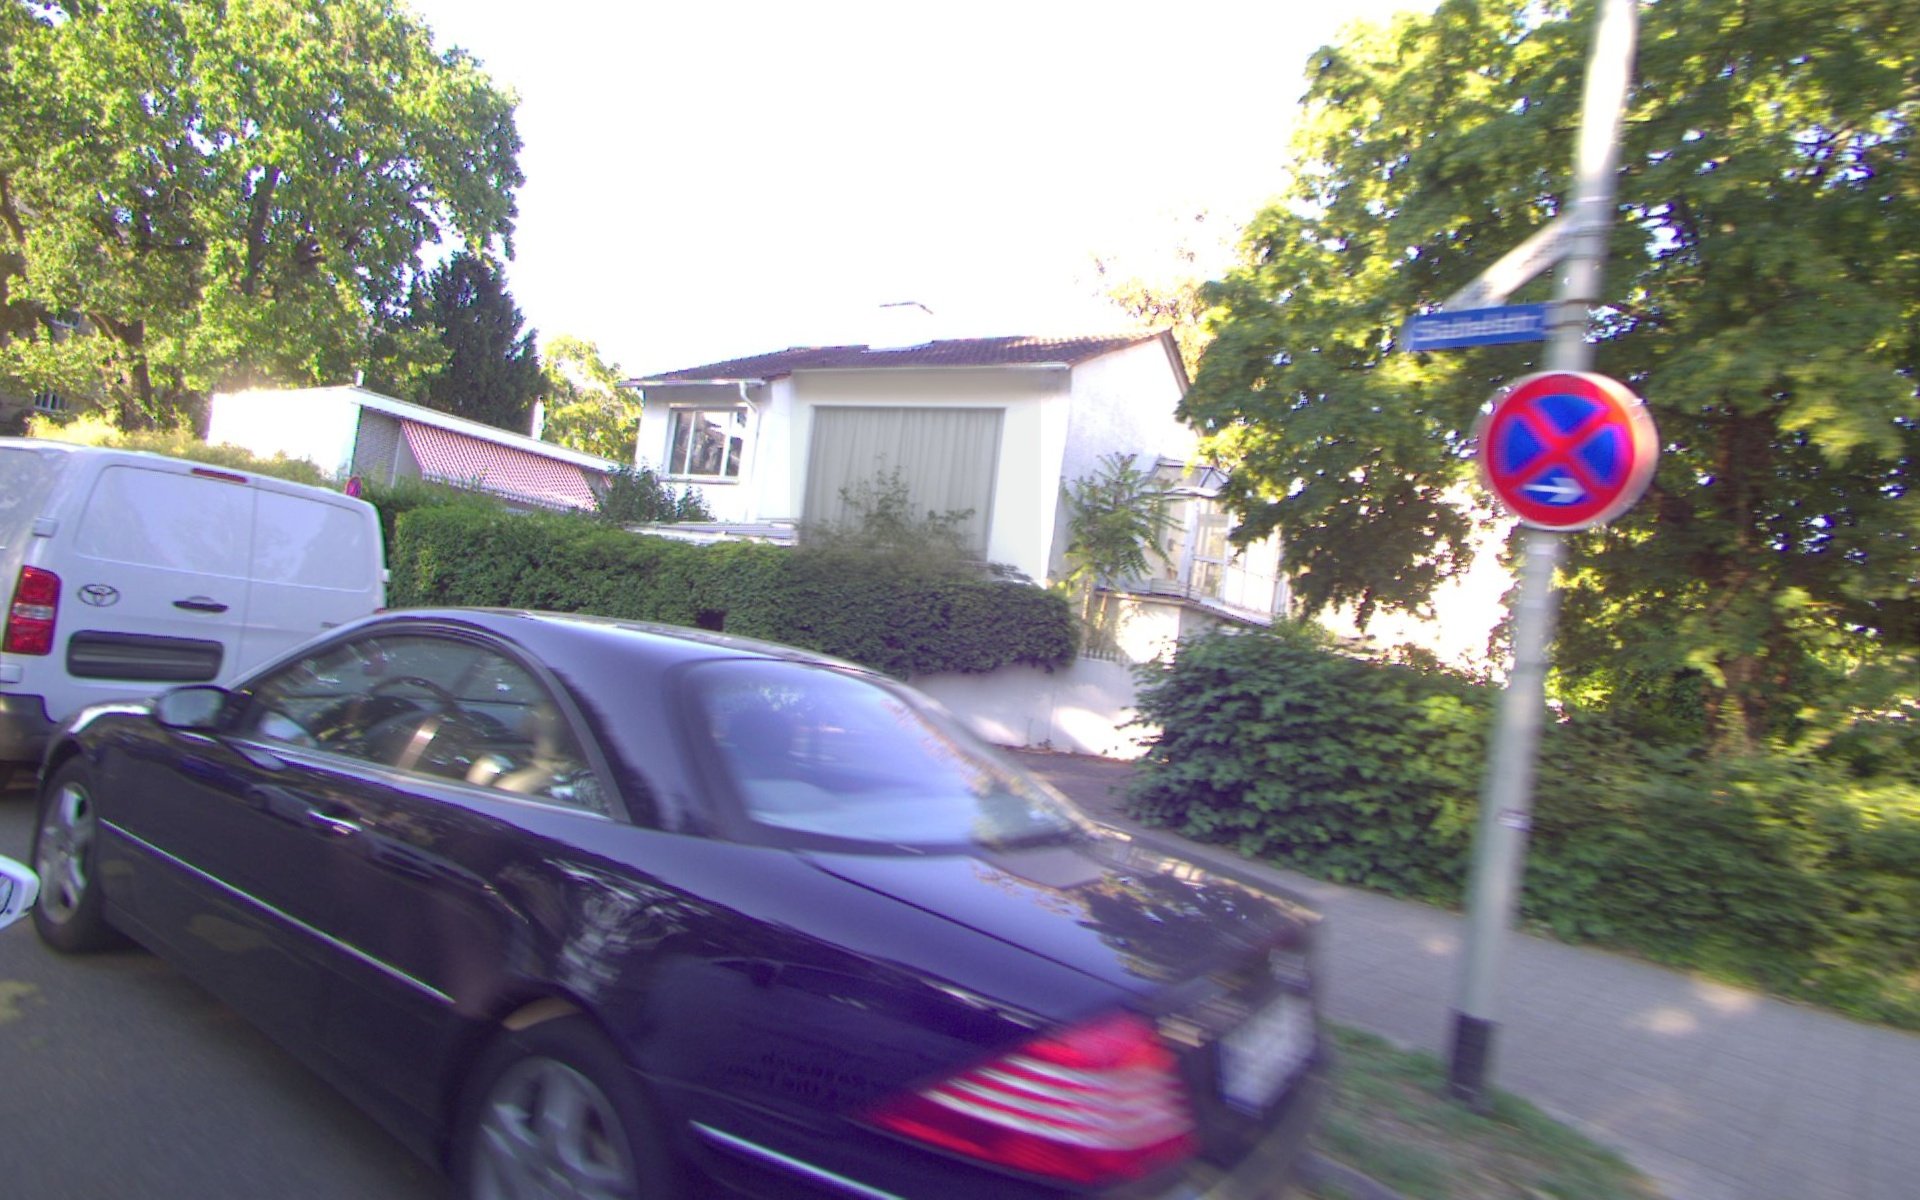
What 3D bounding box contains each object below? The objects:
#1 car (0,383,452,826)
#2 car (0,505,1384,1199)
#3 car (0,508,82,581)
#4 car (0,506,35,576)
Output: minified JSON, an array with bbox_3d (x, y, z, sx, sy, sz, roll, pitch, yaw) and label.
[{"bbox_3d":[-5.925,-0.114,6.764,5.069,2.036,1.957,7,-2,32],"label":"car"},{"bbox_3d":[-1.342,0.701,3.409,4.785,1.484,1.769,7,-3,32],"label":"car"},{"bbox_3d":[-21.731,-1.398,21.109,1.892,1.431,4.592,5,-2,35],"label":"car"},{"bbox_3d":[-23.667,-1.640,22.673,1.761,1.540,3.691,7,-3,30],"label":"car"}]
